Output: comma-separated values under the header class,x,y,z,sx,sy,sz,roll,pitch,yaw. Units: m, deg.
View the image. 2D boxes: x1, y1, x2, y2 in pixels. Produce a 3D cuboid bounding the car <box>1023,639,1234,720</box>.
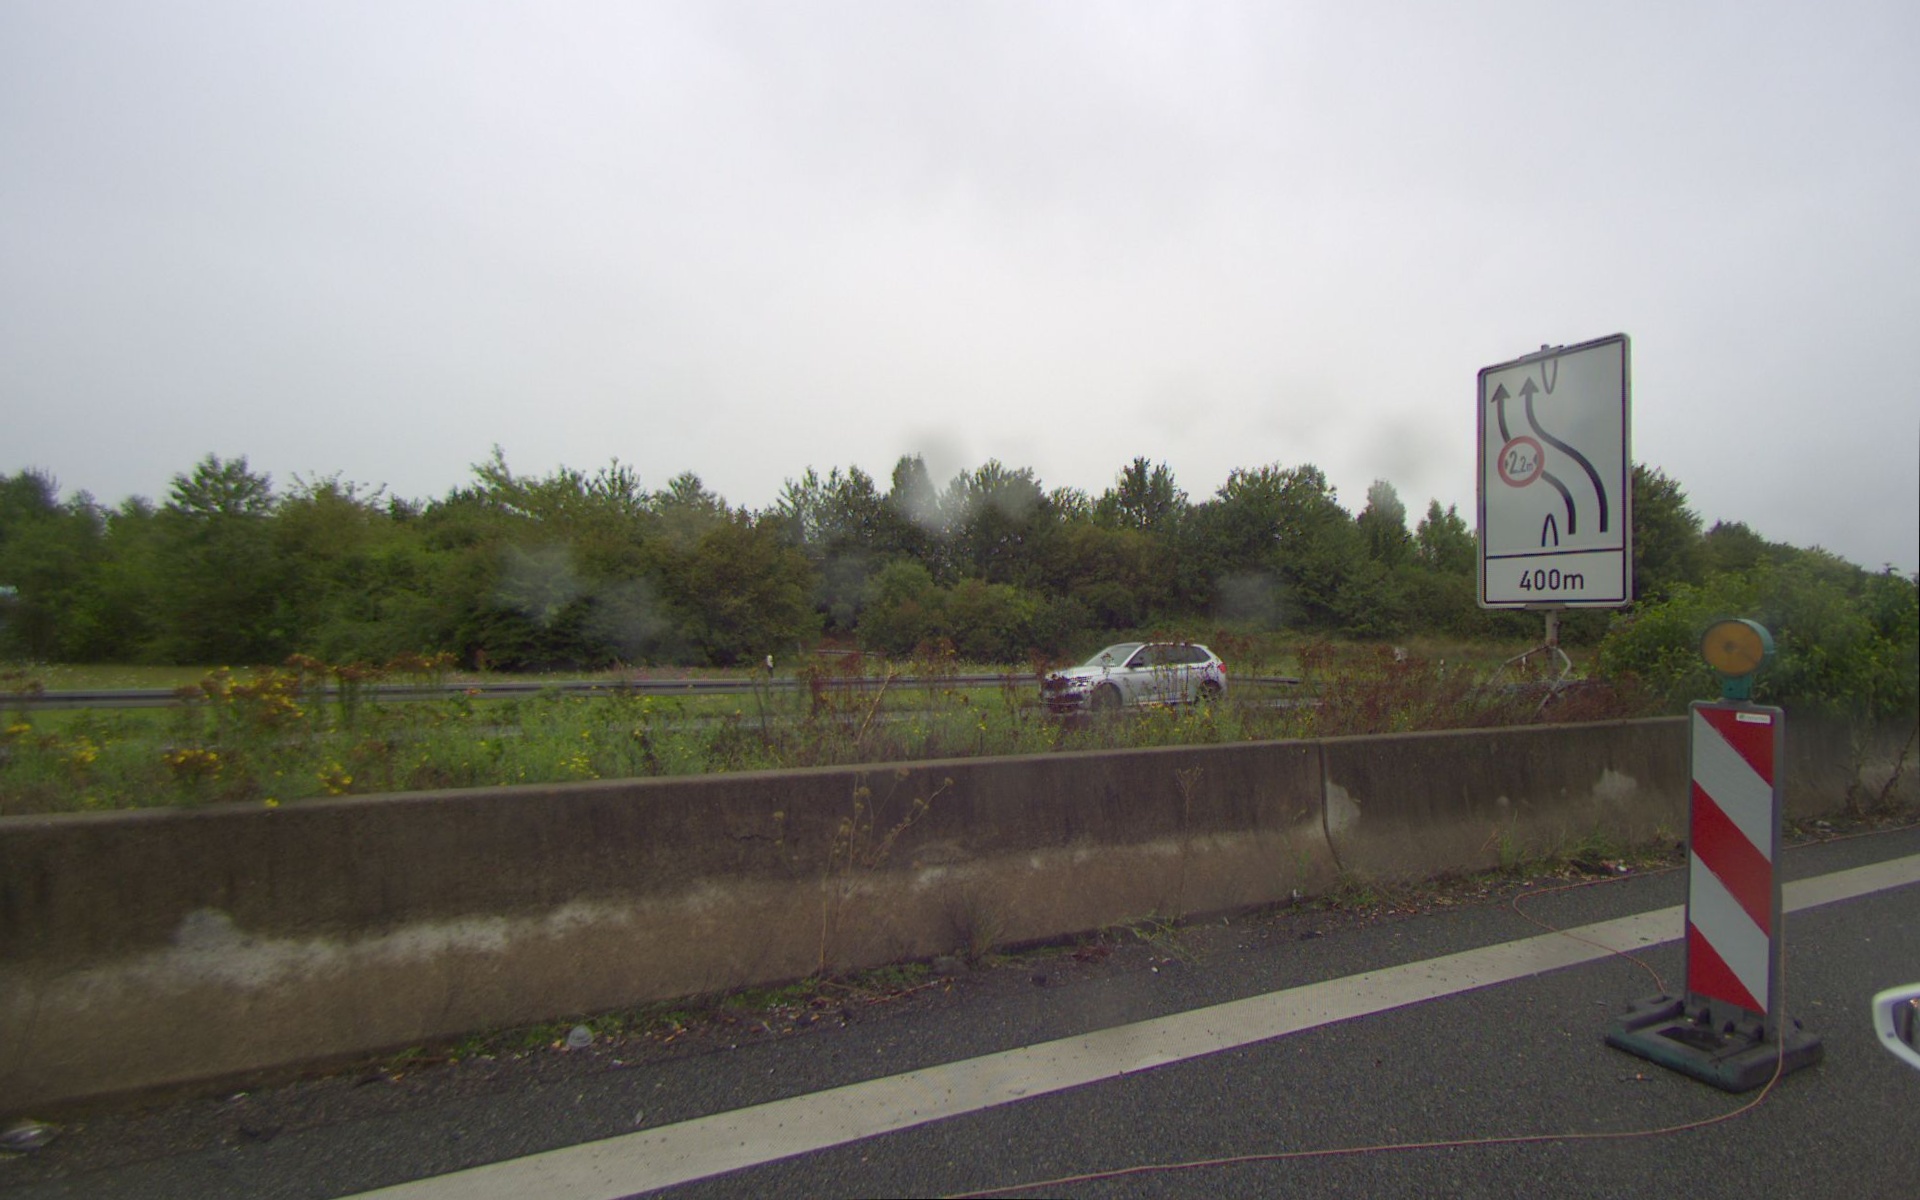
class,x,y,z,sx,sy,sz,roll,pitch,yaw
car,3.554,1.597,21.081,4.059,1.499,1.985,1,-2,-29
